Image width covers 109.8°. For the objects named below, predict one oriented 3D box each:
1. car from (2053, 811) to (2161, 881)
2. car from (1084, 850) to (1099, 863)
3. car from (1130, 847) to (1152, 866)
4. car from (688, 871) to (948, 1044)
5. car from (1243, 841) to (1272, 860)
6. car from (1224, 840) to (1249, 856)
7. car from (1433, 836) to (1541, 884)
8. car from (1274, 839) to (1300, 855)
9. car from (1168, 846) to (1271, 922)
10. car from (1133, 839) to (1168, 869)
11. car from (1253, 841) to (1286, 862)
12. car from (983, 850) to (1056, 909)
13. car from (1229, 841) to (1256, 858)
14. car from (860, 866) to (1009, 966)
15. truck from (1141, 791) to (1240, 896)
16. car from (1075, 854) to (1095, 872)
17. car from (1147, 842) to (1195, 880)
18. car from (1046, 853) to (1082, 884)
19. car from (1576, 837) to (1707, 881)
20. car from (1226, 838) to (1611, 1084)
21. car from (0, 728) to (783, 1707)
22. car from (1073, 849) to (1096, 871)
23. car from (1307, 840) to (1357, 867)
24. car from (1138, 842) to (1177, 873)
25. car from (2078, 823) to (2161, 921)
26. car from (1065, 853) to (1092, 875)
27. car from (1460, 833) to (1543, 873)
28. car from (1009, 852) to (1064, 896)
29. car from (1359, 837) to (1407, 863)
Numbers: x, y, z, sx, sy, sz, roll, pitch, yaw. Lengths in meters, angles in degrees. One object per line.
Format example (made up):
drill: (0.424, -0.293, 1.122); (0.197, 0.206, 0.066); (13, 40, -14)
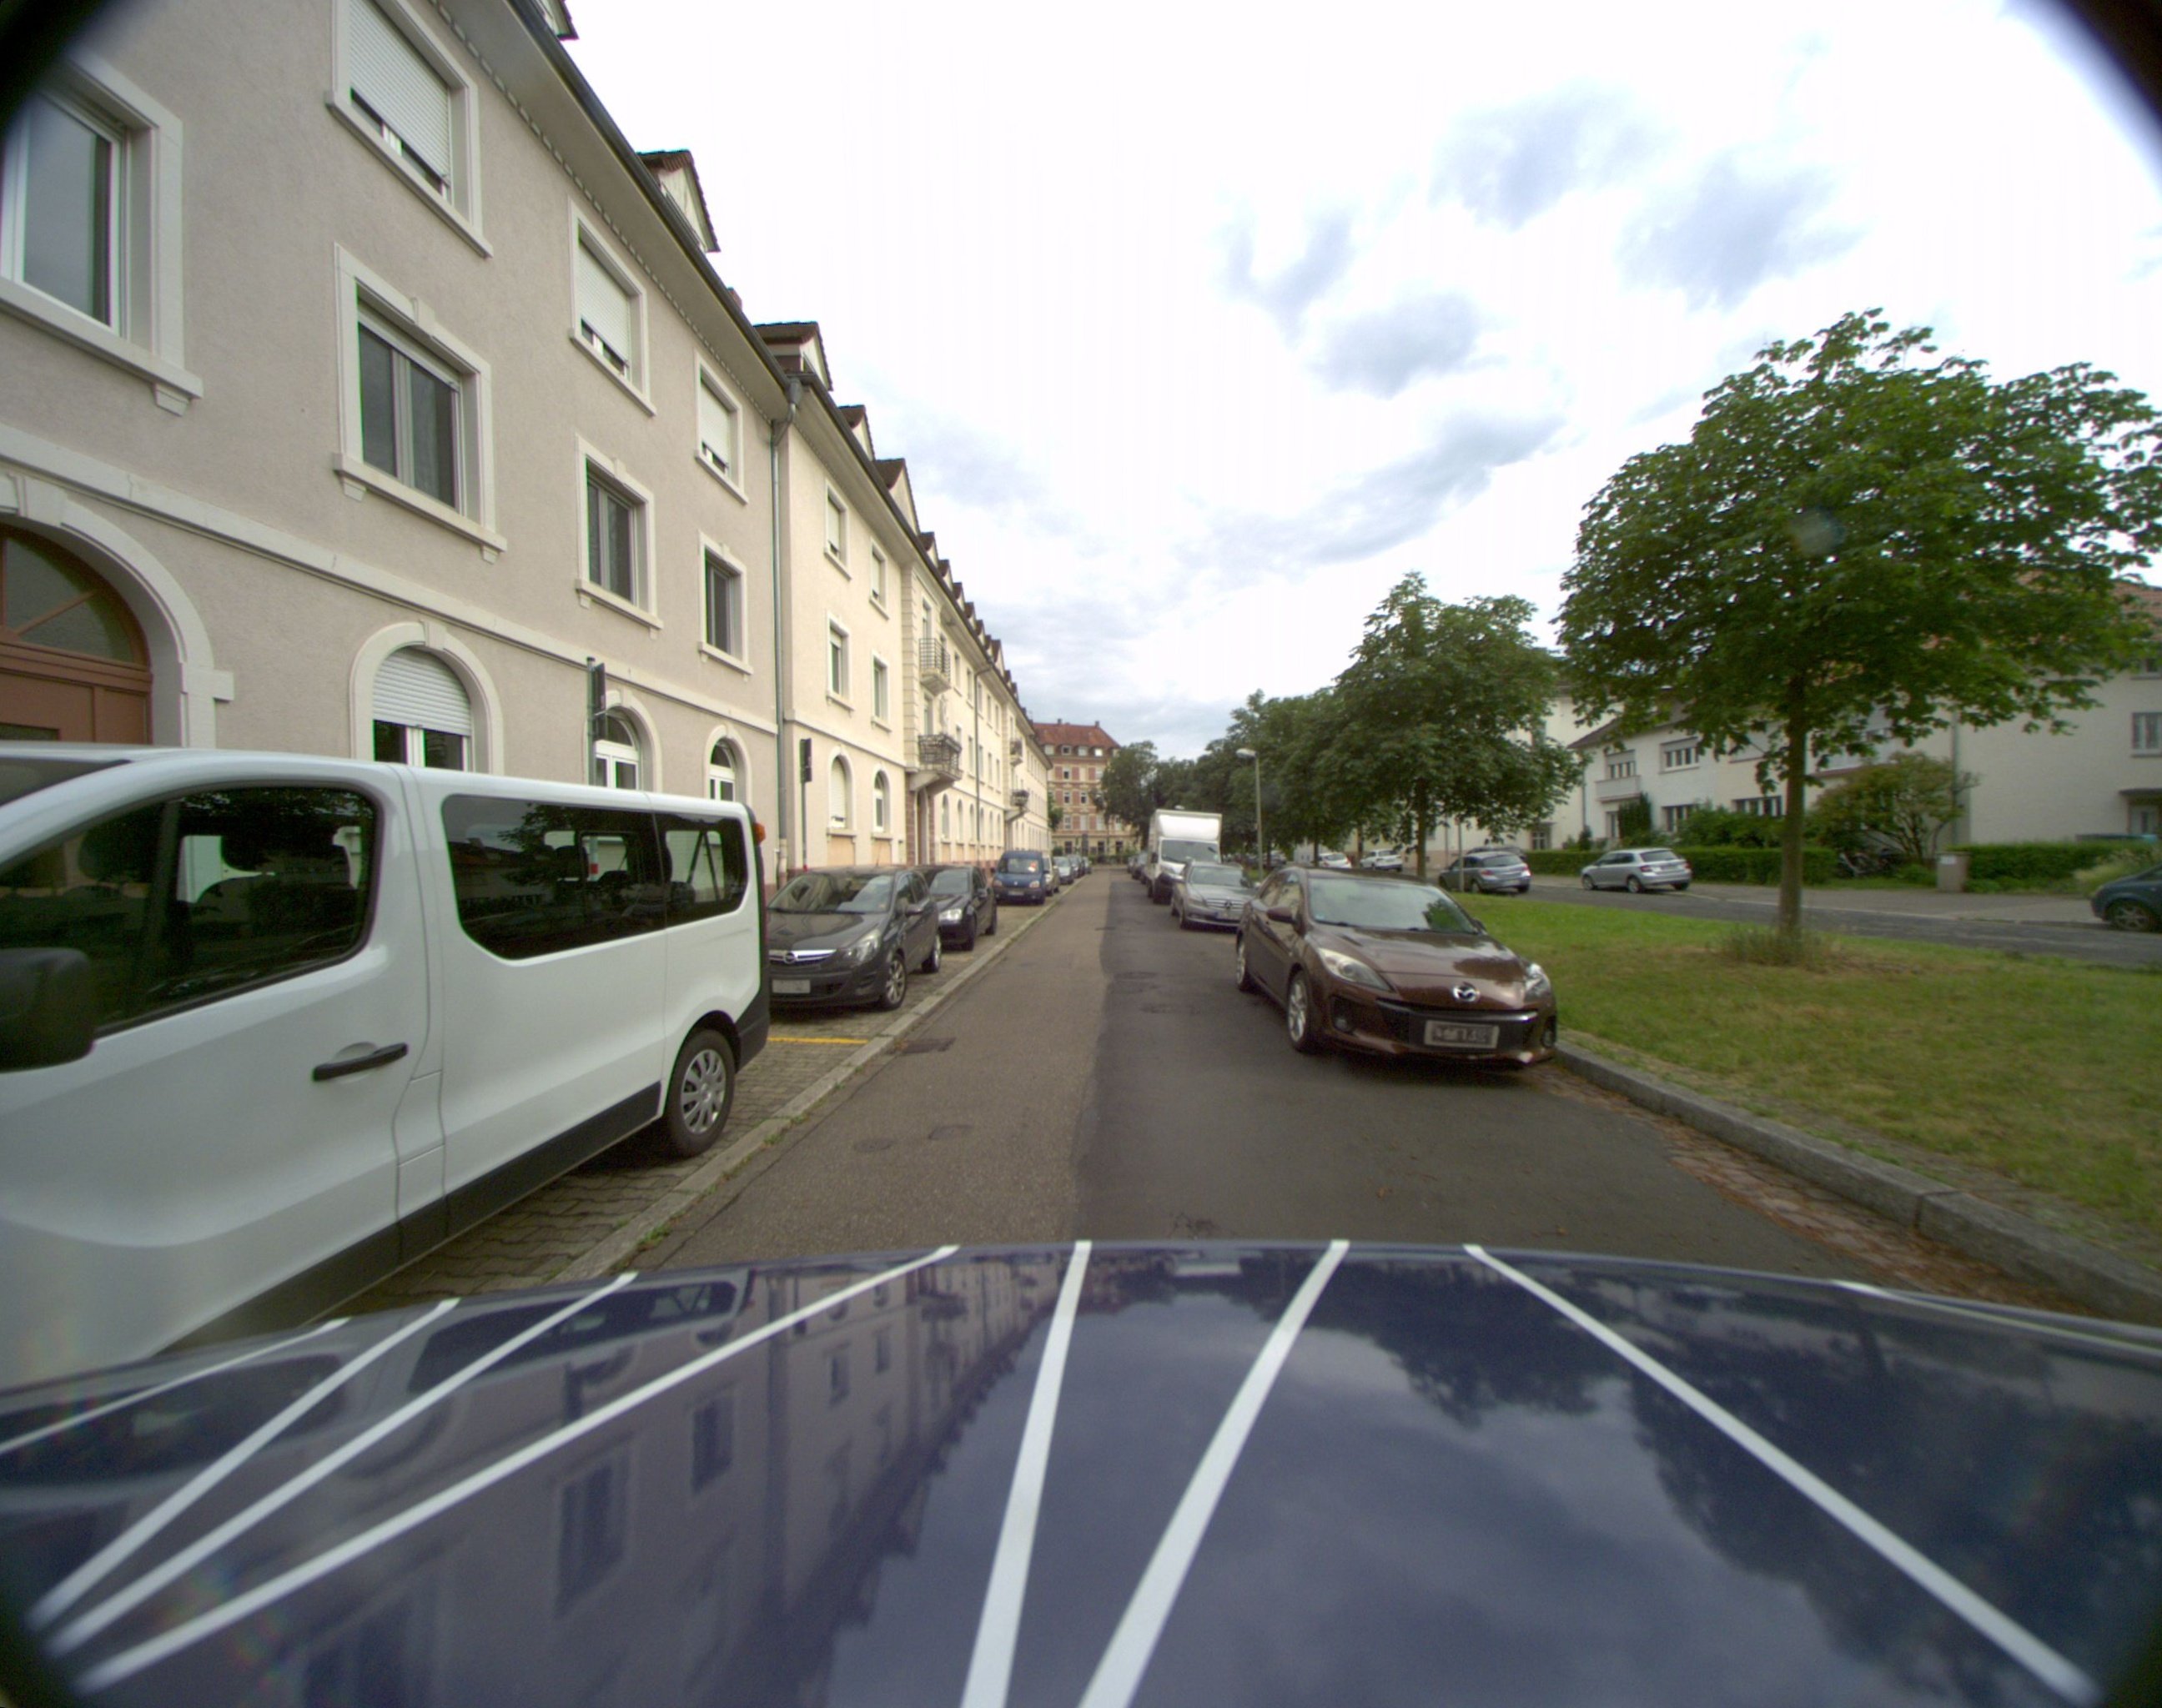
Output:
car: (29.614, -0.286, 20.506); (3.996, 1.718, 2.000); (-4, 0, 3)
car: (1.173, 0.233, 85.602); (1.455, 1.388, 4.010); (2, 1, 3)
car: (5.232, 0.189, 66.564); (1.643, 1.570, 4.209); (-1, 0, 1)
car: (-2.737, 0.987, 8.870); (1.692, 1.445, 3.901); (1, 0, -1)
car: (16.570, -0.334, 71.500); (1.969, 1.630, 4.006); (-2, 1, 3)
car: (16.892, -0.687, 82.809); (1.969, 1.630, 4.006); (-2, 1, 3)
car: (14.221, 0.175, 26.876); (1.804, 1.479, 4.006); (-2, 1, 3)
car: (23.317, -0.797, 86.061); (1.969, 1.630, 4.006); (-2, 1, 3)
car: (3.061, 0.586, 17.664); (1.714, 1.450, 4.448); (3, 1, 3)
car: (4.244, -0.038, 46.930); (1.784, 1.698, 4.315); (2, 1, 1)
car: (16.096, -0.254, 64.975); (1.969, 1.630, 4.006); (-2, 1, 3)
car: (-1.980, 0.785, 25.747); (1.942, 1.775, 4.186); (1, 1, 3)
car: (16.522, -0.430, 77.915); (1.969, 1.630, 4.006); (-2, 1, 3)
car: (-2.530, 1.008, 14.222); (1.691, 1.445, 4.545); (1, 0, 3)
truck: (3.483, -0.326, 25.807); (2.443, 2.940, 7.113); (4, 1, 3)
car: (0.372, 0.747, 65.346); (1.455, 1.388, 4.010); (2, 1, 3)
car: (3.989, 0.281, 34.166); (1.643, 1.505, 4.151); (2, 1, 1)
car: (-0.879, 0.746, 41.657); (1.686, 1.505, 3.955); (2, 1, 3)
car: (19.460, 0.142, 26.610); (1.804, 1.347, 3.942); (-2, 1, 3)
car: (2.523, 0.659, 6.889); (1.714, 1.450, 4.163); (3, 1, 3)
car: (-3.029, 0.737, 2.543); (1.883, 1.984, 5.013); (0, 0, 3)
car: (0.331, 0.452, 59.868); (1.609, 1.575, 4.011); (-1, 0, 3)
car: (14.969, -0.069, 45.495); (1.804, 1.479, 4.006); (-2, 1, 3)
car: (3.957, 0.146, 39.953); (1.643, 1.505, 4.151); (-1, 1, 1)
car: (18.992, 0.278, 11.871); (1.718, 1.592, 3.885); (-4, 0, 1)
car: (-0.163, 0.638, 52.270); (1.609, 1.392, 4.010); (2, 1, 3)
car: (20.279, -0.081, 36.880); (1.804, 1.664, 4.101); (-5, 1, 3)
car: (-1.744, 0.752, 31.140); (1.774, 1.628, 4.129); (2, 1, 3)
car: (20.737, -0.294, 52.293); (1.804, 1.598, 4.006); (-2, 1, 3)
